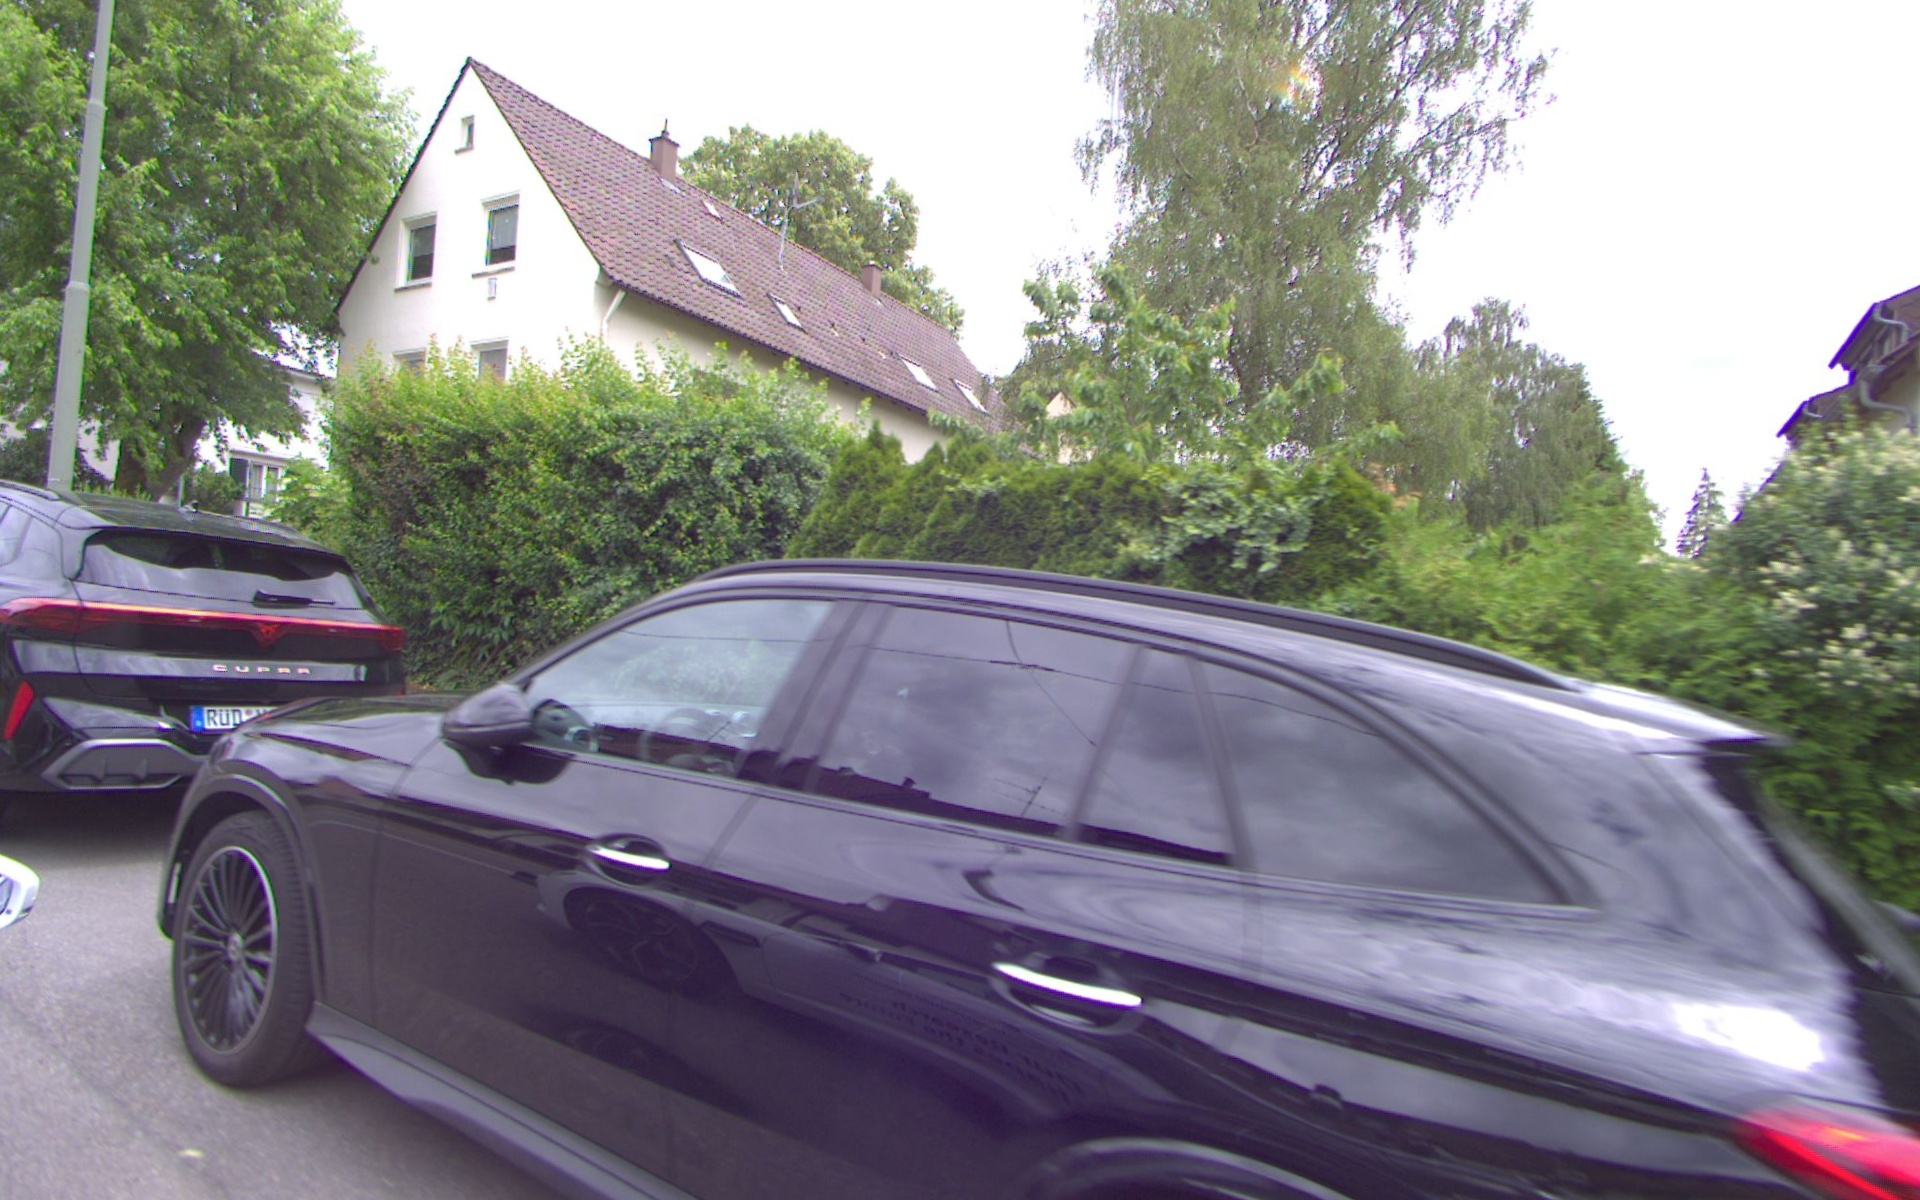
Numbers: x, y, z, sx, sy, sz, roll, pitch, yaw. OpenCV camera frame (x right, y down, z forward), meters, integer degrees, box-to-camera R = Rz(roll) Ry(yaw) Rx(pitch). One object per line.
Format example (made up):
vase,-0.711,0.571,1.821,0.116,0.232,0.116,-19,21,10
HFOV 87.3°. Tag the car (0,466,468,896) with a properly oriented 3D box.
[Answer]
car,-5.063,0.202,5.712,4.463,1.634,1.814,6,-2,31

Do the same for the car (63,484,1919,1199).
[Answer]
car,-0.368,0.733,2.921,4.463,1.634,1.997,6,-2,31
